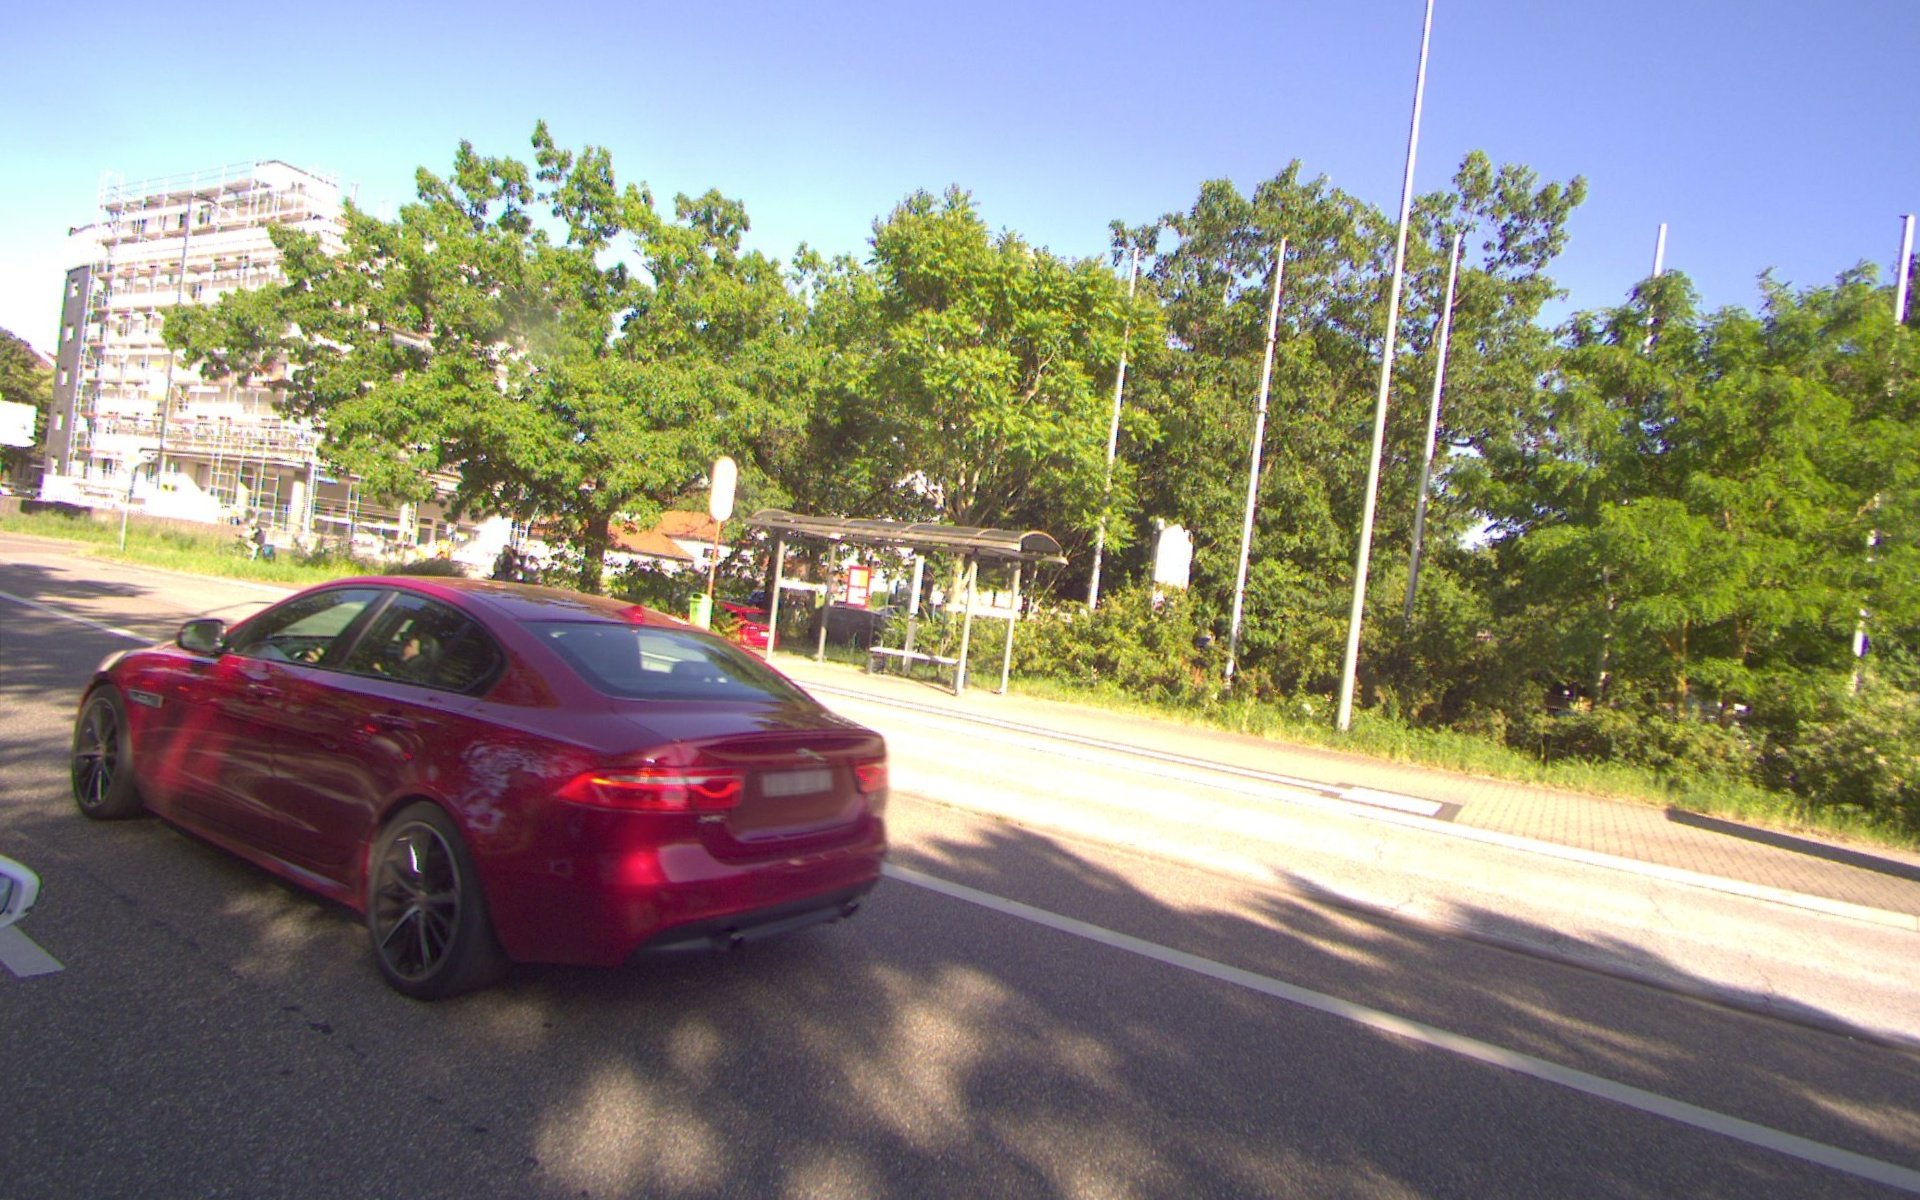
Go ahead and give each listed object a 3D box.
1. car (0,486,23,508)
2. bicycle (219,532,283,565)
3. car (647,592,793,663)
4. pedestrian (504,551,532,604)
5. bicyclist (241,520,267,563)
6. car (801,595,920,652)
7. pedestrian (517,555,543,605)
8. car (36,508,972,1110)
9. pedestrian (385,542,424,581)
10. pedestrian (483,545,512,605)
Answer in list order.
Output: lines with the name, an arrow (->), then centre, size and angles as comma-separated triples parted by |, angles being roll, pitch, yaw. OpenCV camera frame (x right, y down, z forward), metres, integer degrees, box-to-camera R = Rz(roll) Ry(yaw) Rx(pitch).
car -> -66.605, -7.217, 70.162 | 1.521, 1.330, 3.250 | 7, 0, -40
bicycle -> -26.144, -1.899, 37.117 | 1.784, 0.956, 0.553 | 8, 0, -44
car -> -6.870, 0.794, 28.745 | 3.680, 1.504, 1.755 | 7, 0, 28
pedestrian -> -12.821, -0.657, 29.205 | 0.517, 1.465, 0.587 | 7, 1, -32
bicyclist -> -26.071, -2.161, 37.143 | 0.582, 1.511, 0.543 | 7, 1, -43
car -> -3.541, 0.840, 35.974 | 3.674, 1.504, 1.914 | 7, 0, 13
pedestrian -> -13.415, -0.634, 31.392 | 0.517, 1.465, 0.587 | 7, 1, -32
car -> -2.335, 0.557, 4.798 | 4.313, 1.446, 1.889 | 8, 1, 32
pedestrian -> -23.385, -1.633, 42.390 | 0.948, 1.465, 0.895 | 7, 0, 17
pedestrian -> -13.073, -0.708, 28.413 | 0.517, 1.632, 0.587 | 7, 1, -32
